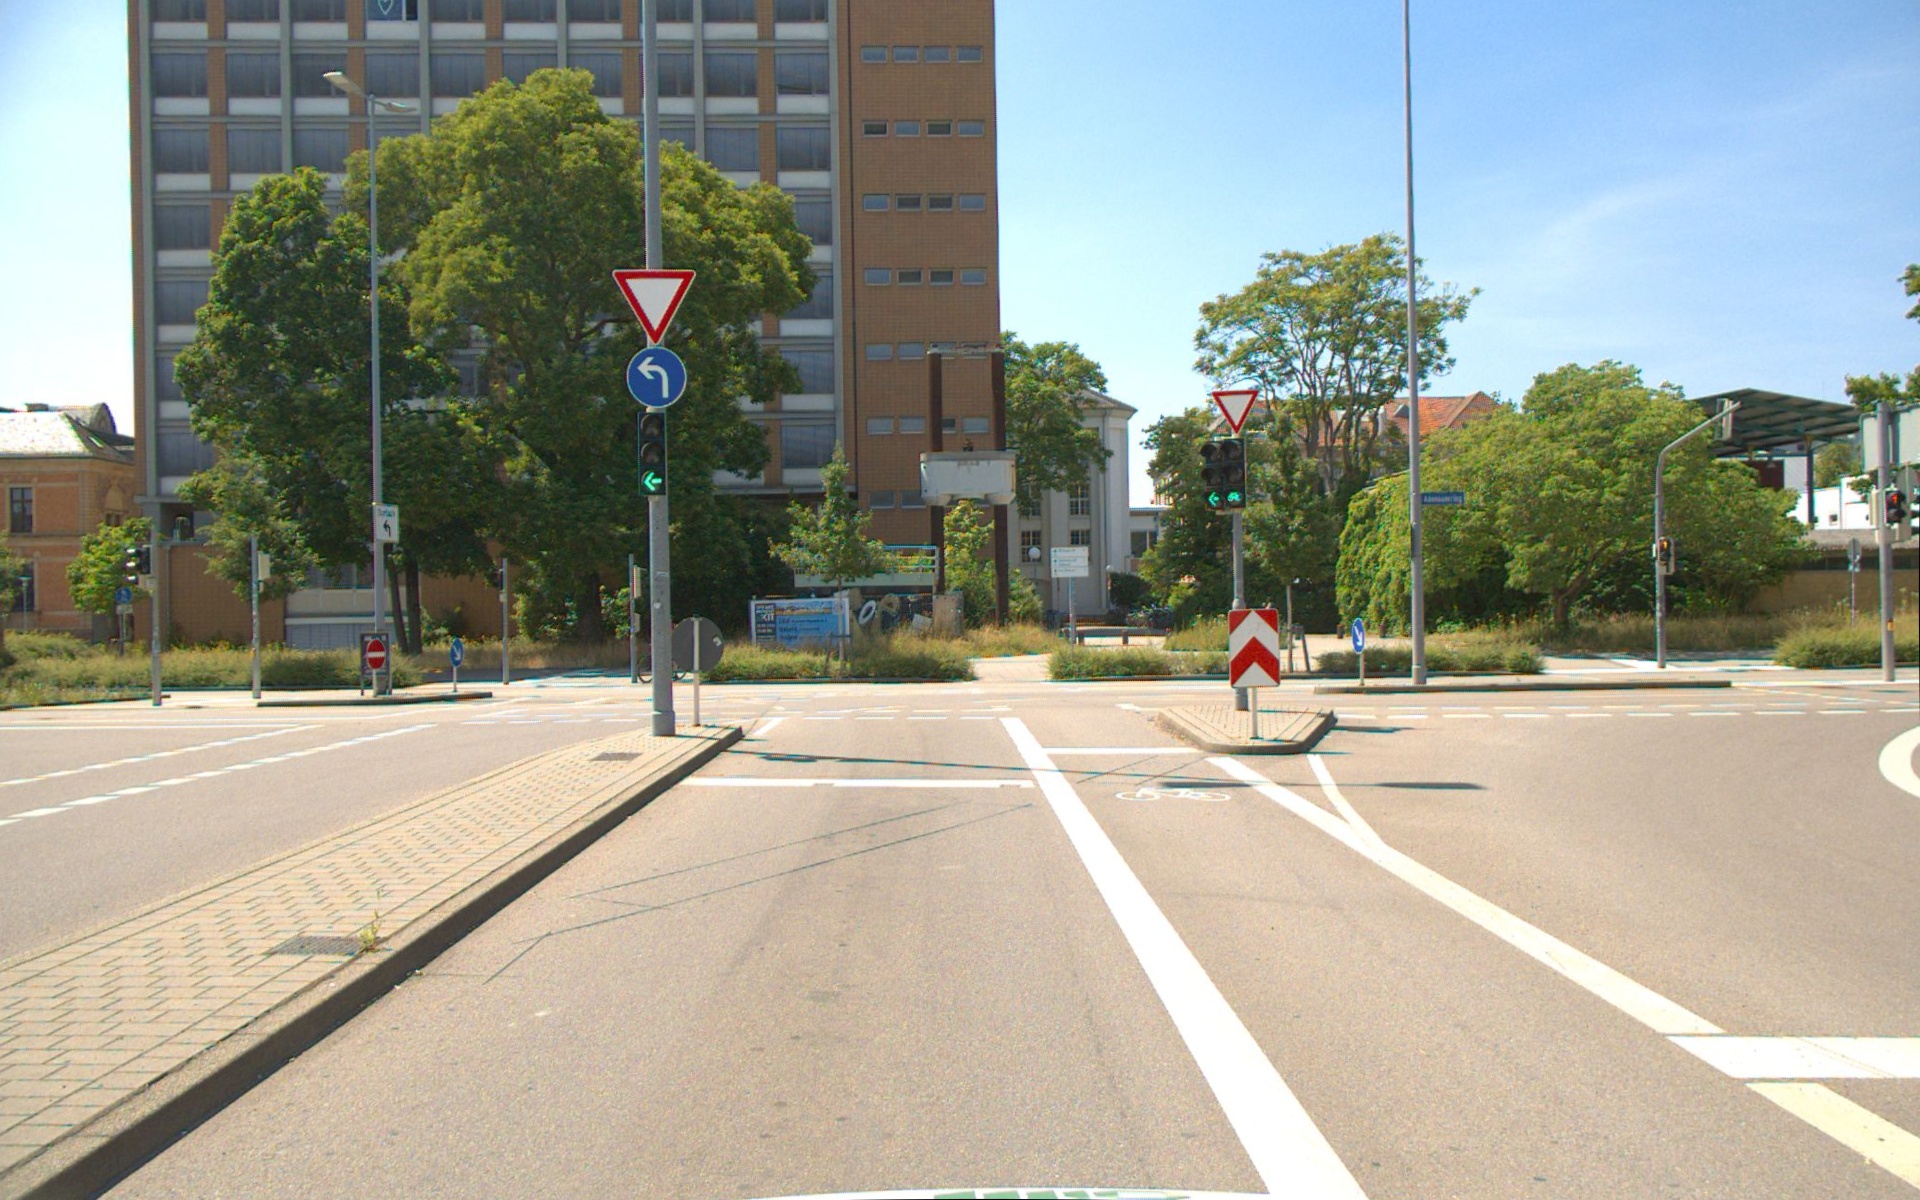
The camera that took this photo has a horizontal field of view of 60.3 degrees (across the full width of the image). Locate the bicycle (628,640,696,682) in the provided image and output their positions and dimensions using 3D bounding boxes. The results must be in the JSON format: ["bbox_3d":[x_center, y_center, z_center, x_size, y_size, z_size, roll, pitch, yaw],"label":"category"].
[{"bbox_3d":[-8.310,1.683,46.210,0.548,1.063,1.986,0,1,40],"label":"bicycle"}]

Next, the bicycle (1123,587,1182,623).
[{"bbox_3d":[11.390,0.312,98.040,3.376,2.049,0.760,1,-1,1],"label":"bicycle"}]

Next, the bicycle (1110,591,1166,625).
[{"bbox_3d":[11.110,0.478,103.236,3.376,2.049,0.760,1,-1,1],"label":"bicycle"}]

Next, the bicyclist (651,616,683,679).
[{"bbox_3d":[-8.215,1.324,46.322,0.541,1.745,0.699,0,1,40],"label":"bicyclist"}]

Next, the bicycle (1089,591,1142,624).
[{"bbox_3d":[10.105,0.486,107.830,3.376,2.049,0.760,1,-1,1],"label":"bicycle"}]

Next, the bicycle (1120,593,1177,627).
[{"bbox_3d":[11.517,0.605,101.080,3.376,2.049,0.760,1,-1,1],"label":"bicycle"}]

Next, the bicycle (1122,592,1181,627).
[{"bbox_3d":[11.460,0.579,99.042,3.376,2.049,0.760,1,-1,1],"label":"bicycle"}]

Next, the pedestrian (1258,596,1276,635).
[{"bbox_3d":[13.536,0.670,72.824,0.626,1.694,0.706,1,-1,-2],"label":"pedestrian"}]
